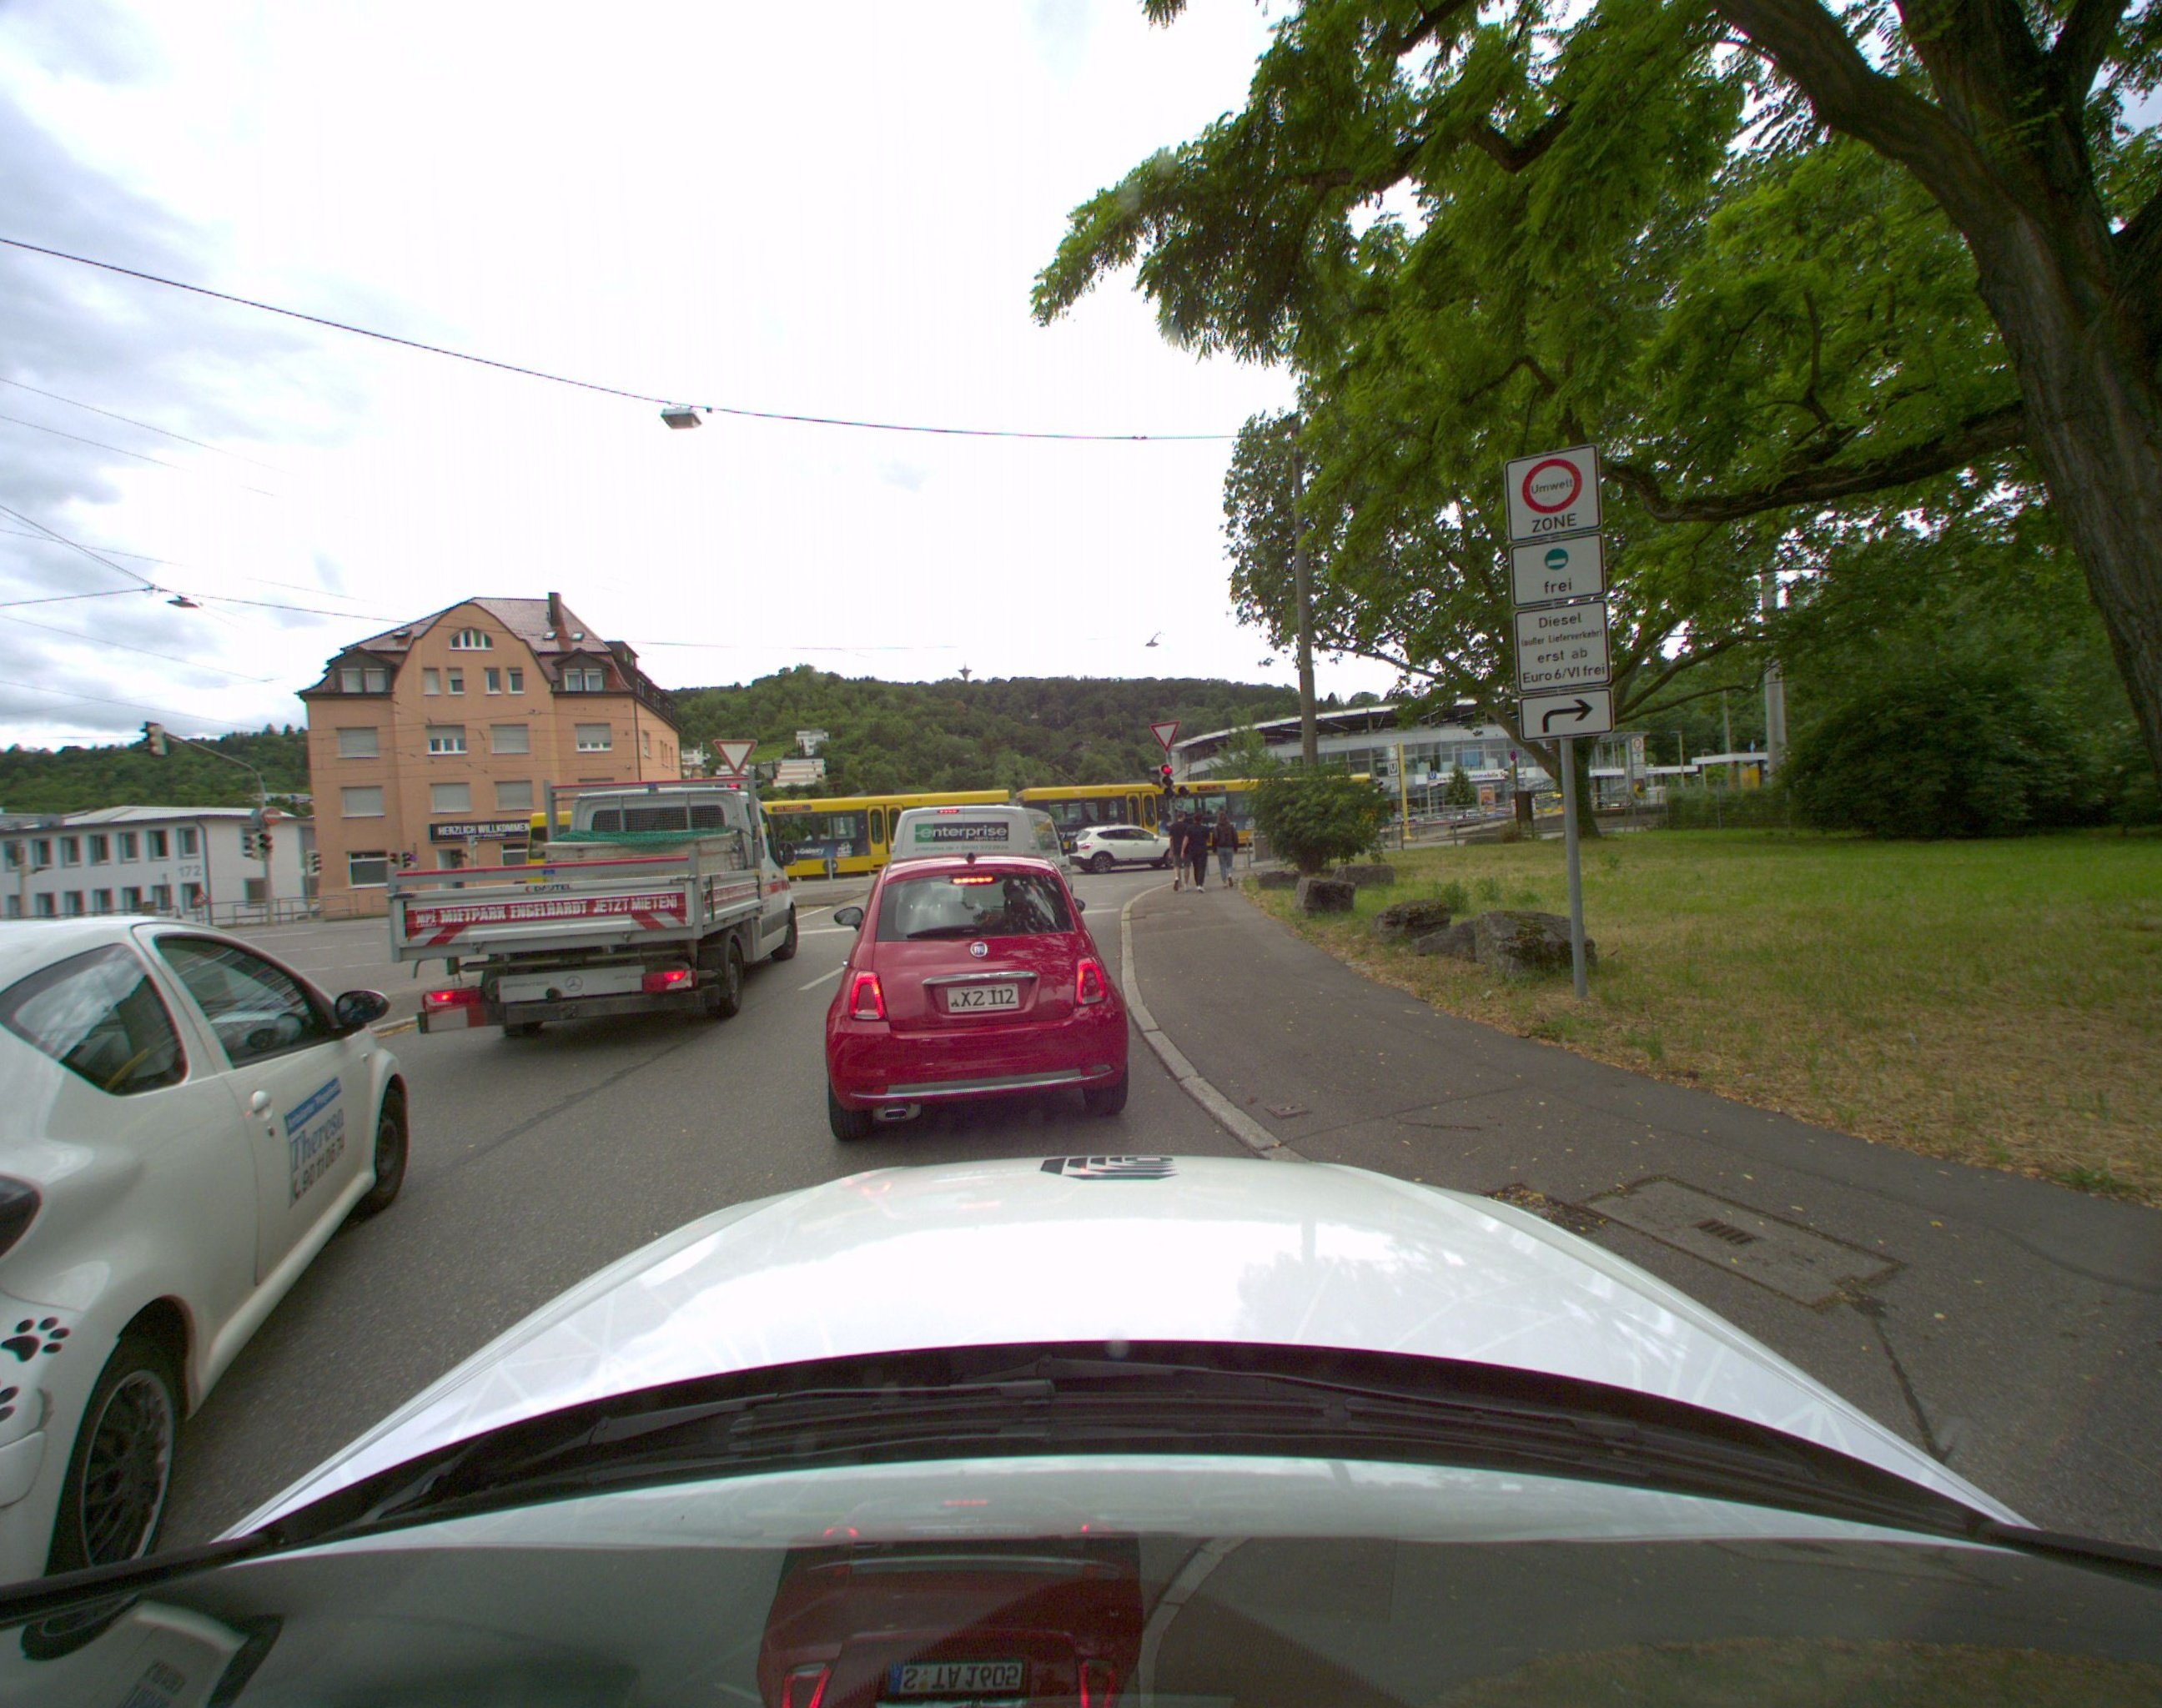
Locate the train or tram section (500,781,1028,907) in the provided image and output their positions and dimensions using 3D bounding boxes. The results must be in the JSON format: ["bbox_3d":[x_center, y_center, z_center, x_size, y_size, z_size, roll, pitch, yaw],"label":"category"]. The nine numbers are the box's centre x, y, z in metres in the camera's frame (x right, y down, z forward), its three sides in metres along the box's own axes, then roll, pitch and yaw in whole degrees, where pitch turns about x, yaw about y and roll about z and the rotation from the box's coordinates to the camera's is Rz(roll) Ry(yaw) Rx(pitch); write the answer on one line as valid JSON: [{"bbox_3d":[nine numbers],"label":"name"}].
[{"bbox_3d":[-11.969,-0.593,33.490,19.152,3.665,3.260,-4,1,-16],"label":"train or tram section"}]

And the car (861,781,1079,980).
[{"bbox_3d":[-1.255,0.249,11.540,1.981,2.106,4.767,-4,1,4],"label":"car"}]

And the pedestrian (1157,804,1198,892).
[{"bbox_3d":[2.156,-0.141,18.095,0.688,1.857,0.791,-4,1,14],"label":"pedestrian"}]

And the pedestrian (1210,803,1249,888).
[{"bbox_3d":[3.176,-0.192,17.425,0.689,1.739,0.790,-4,1,9],"label":"pedestrian"}]

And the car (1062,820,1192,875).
[{"bbox_3d":[1.581,-0.268,28.475,4.123,1.583,1.793,-4,2,-17],"label":"car"}]

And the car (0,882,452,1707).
[{"bbox_3d":[-3.303,0.888,2.465,1.649,1.432,3.398,-5,1,-30],"label":"car"}]

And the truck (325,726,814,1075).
[{"bbox_3d":[-4.703,0.283,9.025,2.423,2.397,6.006,-4,1,-11],"label":"truck"}]

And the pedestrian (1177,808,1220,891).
[{"bbox_3d":[2.539,-0.108,17.496,0.688,1.714,0.792,-4,1,16],"label":"pedestrian"}]

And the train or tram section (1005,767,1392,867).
[{"bbox_3d":[6.104,-1.928,39.446,19.178,3.665,3.256,-4,1,-20],"label":"train or tram section"}]

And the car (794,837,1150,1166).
[{"bbox_3d":[-0.758,0.676,5.633,1.638,1.456,3.420,-3,1,-9],"label":"car"}]
